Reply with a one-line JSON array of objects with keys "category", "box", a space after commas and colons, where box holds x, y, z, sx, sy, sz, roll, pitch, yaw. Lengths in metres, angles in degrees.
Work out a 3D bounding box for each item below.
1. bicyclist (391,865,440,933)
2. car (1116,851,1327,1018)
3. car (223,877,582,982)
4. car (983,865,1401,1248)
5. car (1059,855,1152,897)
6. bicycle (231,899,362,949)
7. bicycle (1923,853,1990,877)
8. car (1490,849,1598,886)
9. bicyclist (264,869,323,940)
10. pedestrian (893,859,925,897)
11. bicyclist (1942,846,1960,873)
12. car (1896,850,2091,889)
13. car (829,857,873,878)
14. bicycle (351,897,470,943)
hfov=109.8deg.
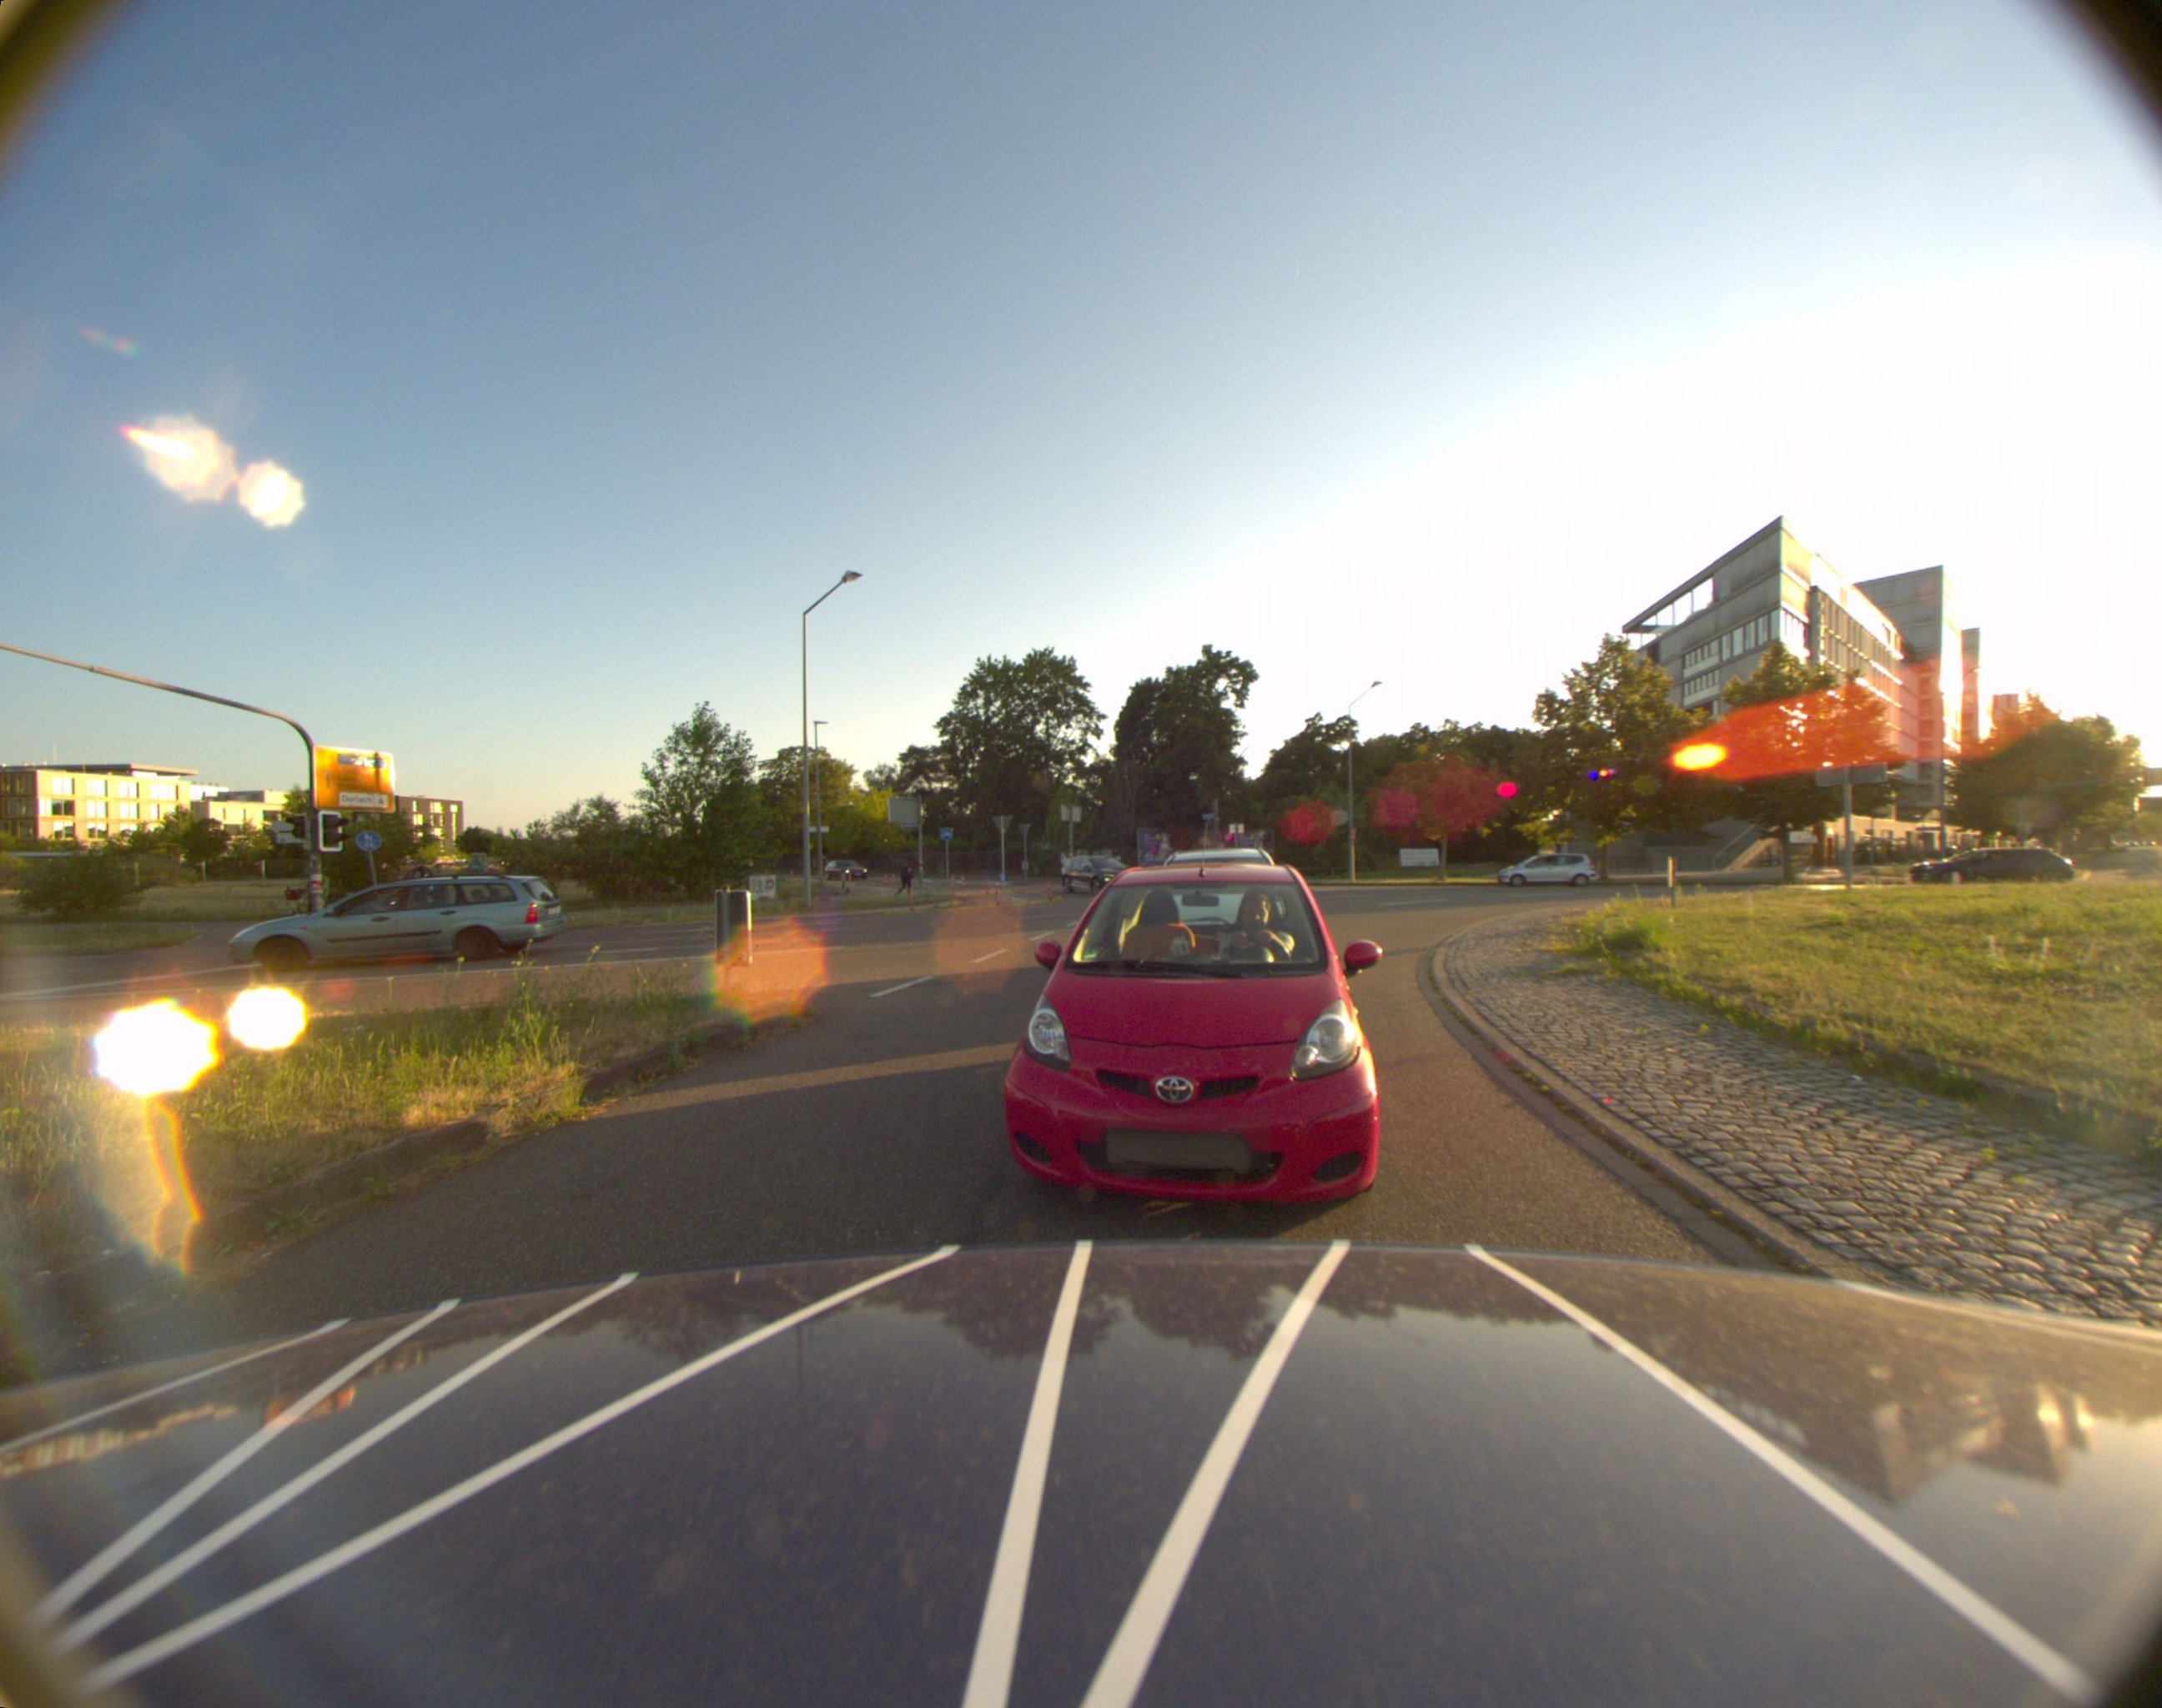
[{"category": "bicyclist", "box": [-17.057, 1.140, 19.470, 0.723, 1.680, 0.690, -1, 1, 28]}, {"category": "car", "box": [1.586, 0.778, 9.466, 1.997, 1.597, 4.200, -1, 0, 6]}, {"category": "car", "box": [-11.793, 1.239, 13.638, 4.315, 1.483, 1.997, -1, 1, -18]}, {"category": "car", "box": [0.830, 0.835, 5.096, 1.687, 1.412, 4.003, -1, 0, 12]}, {"category": "car", "box": [0.939, 0.848, 31.959, 2.003, 1.588, 4.304, -1, 1, -28]}, {"category": "bicycle", "box": [-19.187, 1.673, 18.660, 0.708, 0.958, 2.109, -1, 2, 15]}, {"category": "bicycle", "box": [47.280, 0.594, 41.060, 0.744, 1.237, 2.341, -2, 1, -40]}, {"category": "car", "box": [20.925, 0.608, 34.489, 3.883, 1.571, 1.957, -1, 0, 21]}, {"category": "bicyclist", "box": [-19.246, 1.233, 18.573, 0.724, 1.680, 0.690, -1, 1, 12]}, {"category": "pedestrian", "box": [-7.323, 1.010, 32.384, 0.994, 1.581, 0.924, -2, 1, -36]}, {"category": "bicyclist", "box": [47.168, 0.274, 41.202, 0.693, 1.432, 0.610, -2, 1, -42]}, {"category": "car", "box": [34.192, 0.559, 28.705, 4.372, 1.368, 2.004, -1, 0, 37]}, {"category": "car", "box": [-17.382, 1.005, 57.353, 2.003, 1.477, 3.990, -1, 1, -34]}, {"category": "bicycle", "box": [-17.073, 1.654, 19.410, 0.708, 0.957, 2.149, -1, 0, 27]}]
